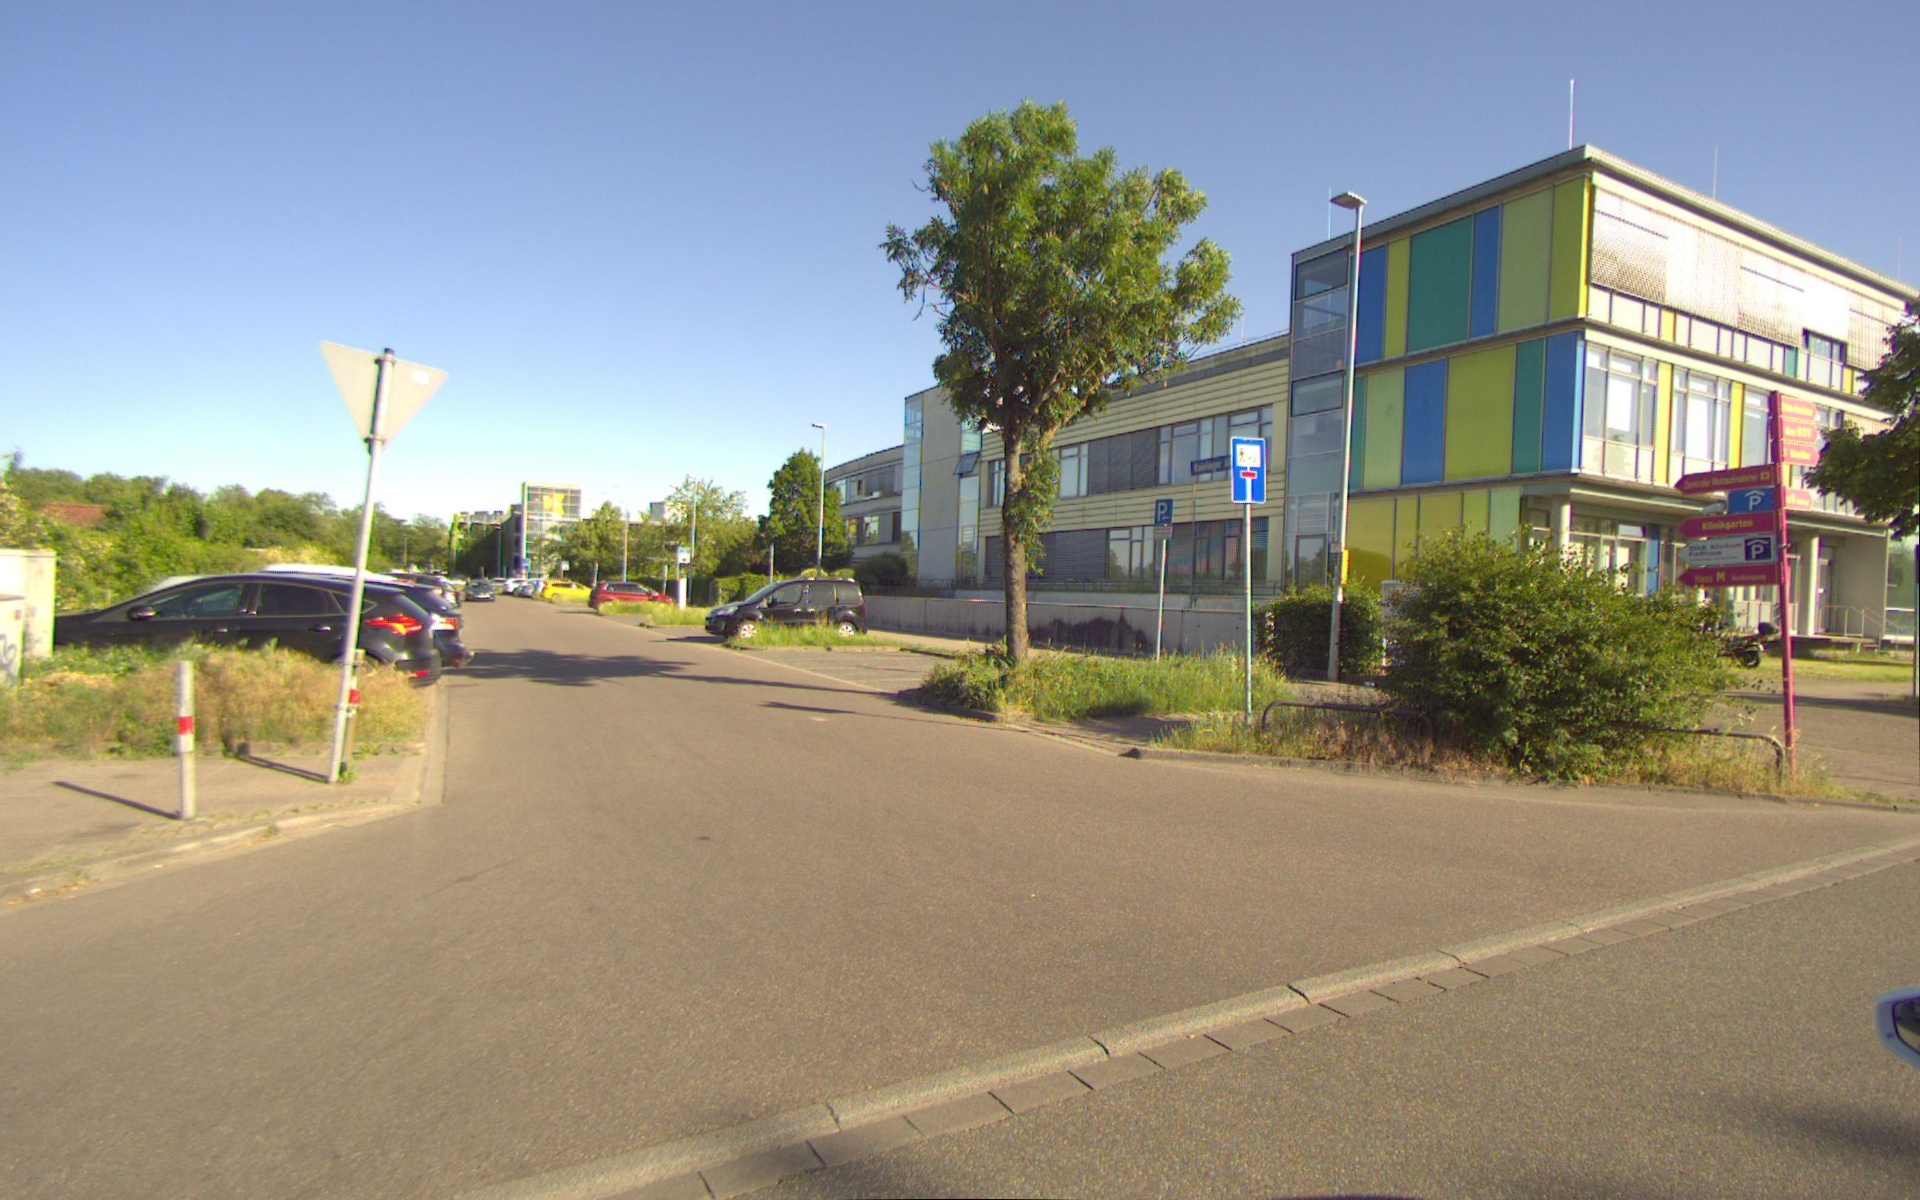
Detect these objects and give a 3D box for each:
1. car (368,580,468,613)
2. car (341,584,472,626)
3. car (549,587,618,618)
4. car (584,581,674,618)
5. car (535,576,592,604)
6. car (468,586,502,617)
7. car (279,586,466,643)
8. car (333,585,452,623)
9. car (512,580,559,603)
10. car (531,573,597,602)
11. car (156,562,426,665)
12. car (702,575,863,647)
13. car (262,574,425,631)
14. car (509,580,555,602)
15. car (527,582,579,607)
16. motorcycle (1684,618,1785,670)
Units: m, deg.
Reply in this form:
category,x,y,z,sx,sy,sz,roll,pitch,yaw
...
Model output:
category,x,y,z,sx,sy,sz,roll,pitch,yaw
car,-24.013,-0.131,44.568,3.801,1.280,1.499,2,-2,-30
car,-18.642,0.173,33.934,3.801,1.281,1.498,2,0,-30
car,-25.898,0.154,69.161,4.332,1.966,1.988,2,1,-24
car,-16.399,-0.016,49.796,3.951,1.724,1.985,2,0,-29
car,-31.370,-0.808,79.485,3.951,2.040,1.985,2,0,-29
car,-33.313,0.116,70.385,1.975,2.040,3.971,1,0,-28
car,-14.293,0.390,24.621,3.801,1.280,1.499,2,-2,-30
car,-21.291,0.172,37.813,3.801,1.280,1.499,2,-2,-30
car,-40.623,-0.782,96.200,3.951,2.040,1.985,2,0,-29
car,-29.851,-0.962,75.730,4.339,2.040,1.985,2,0,-29
car,-11.884,0.260,18.127,3.791,1.717,1.502,2,0,-23
car,-4.819,0.298,27.320,4.045,1.813,1.502,2,0,-23
car,-17.717,0.071,29.053,3.791,1.504,1.502,2,0,-23
car,-42.133,-0.859,98.816,3.951,2.040,1.985,2,0,-29
car,-34.713,-0.479,85.651,3.951,2.040,1.985,2,0,-29
motorcycle,20.479,1.138,26.619,0.493,1.165,2.033,1,3,-30
